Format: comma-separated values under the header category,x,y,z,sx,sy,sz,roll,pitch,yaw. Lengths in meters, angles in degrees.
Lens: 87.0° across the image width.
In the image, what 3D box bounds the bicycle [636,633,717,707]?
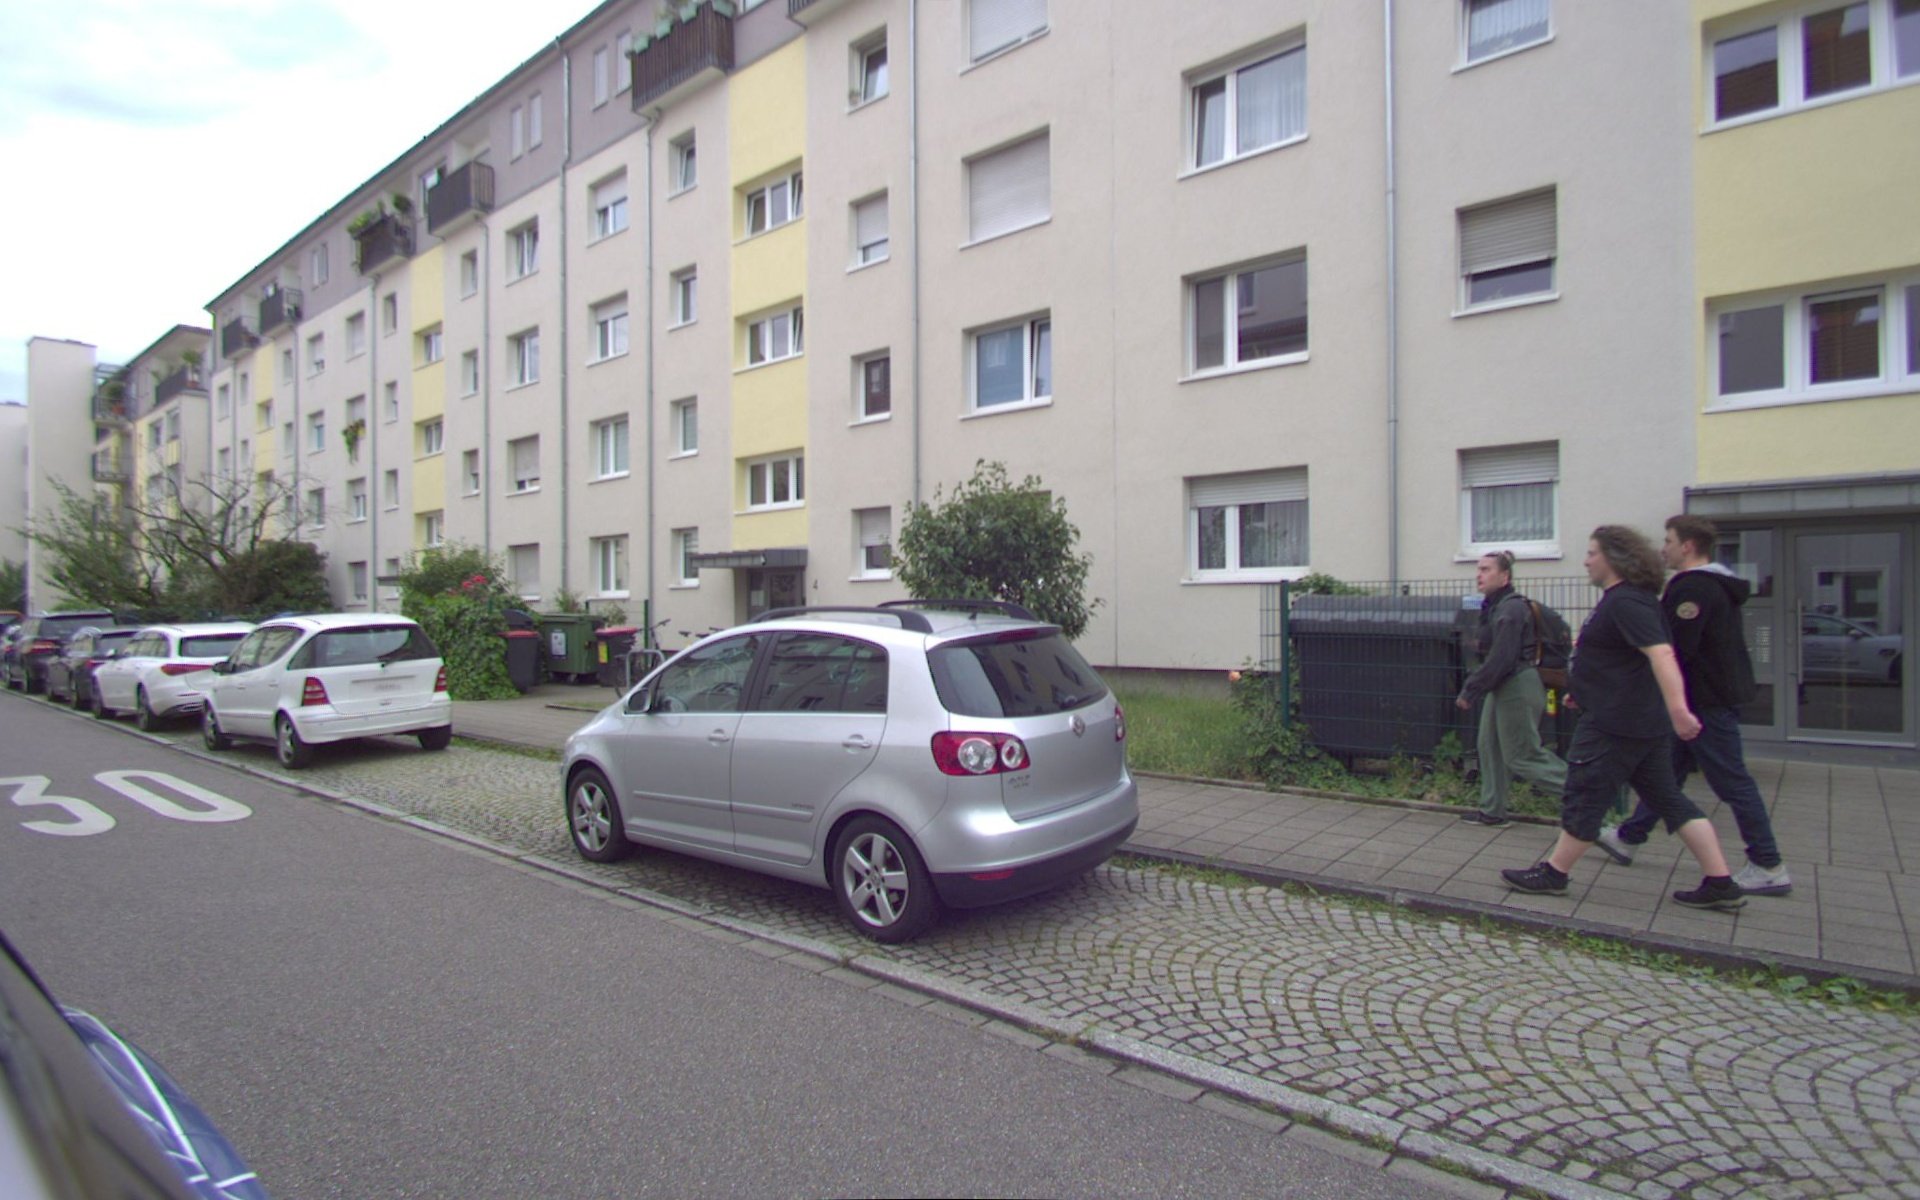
category,x,y,z,sx,sy,sz,roll,pitch,yaw
bicycle,-4.154,0.998,14.770,1.496,1.032,0.352,-2,-1,40

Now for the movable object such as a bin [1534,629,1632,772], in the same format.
category,x,y,z,sx,sy,sz,roll,pitch,yaw
movable object such as a bin,5.292,0.818,8.586,0.597,1.125,0.834,-2,-2,38

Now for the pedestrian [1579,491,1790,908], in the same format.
category,x,y,z,sx,sy,sz,roll,pitch,yaw
pedestrian,3.622,0.452,5.059,0.763,1.868,0.699,-2,-2,40

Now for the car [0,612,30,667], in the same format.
category,x,y,z,sx,sy,sz,roll,pitch,yaw
car,-33.232,1.359,34.519,3.537,1.820,1.686,-2,-2,38

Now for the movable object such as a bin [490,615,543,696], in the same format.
category,x,y,z,sx,sy,sz,roll,pitch,yaw
movable object such as a bin,-7.760,0.953,17.696,0.587,1.378,0.651,0,0,36

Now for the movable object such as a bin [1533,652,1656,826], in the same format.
category,x,y,z,sx,sy,sz,roll,pitch,yaw
movable object such as a bin,4.147,0.873,6.609,0.597,1.041,0.531,-2,-2,39

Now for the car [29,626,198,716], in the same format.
category,x,y,z,sx,sy,sz,roll,pitch,yaw
car,-15.844,1.233,18.865,4.480,1.464,1.707,-1,-1,41

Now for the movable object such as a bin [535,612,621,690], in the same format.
category,x,y,z,sx,sy,sz,roll,pitch,yaw
movable object such as a bin,-7.224,0.941,19.131,1.187,1.385,1.047,0,0,36

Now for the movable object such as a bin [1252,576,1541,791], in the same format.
category,x,y,z,sx,sy,sz,roll,pitch,yaw
movable object such as a bin,3.404,0.575,7.874,1.670,1.432,1.573,-2,-1,40

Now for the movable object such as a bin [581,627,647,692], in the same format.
category,x,y,z,sx,sy,sz,roll,pitch,yaw
movable object such as a bin,-6.327,1.072,18.535,0.786,1.117,0.861,0,0,36

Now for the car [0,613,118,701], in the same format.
category,x,y,z,sx,sy,sz,roll,pitch,yaw
car,-20.445,1.234,22.759,4.448,1.793,1.555,-2,-2,40

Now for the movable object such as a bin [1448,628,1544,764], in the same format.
category,x,y,z,sx,sy,sz,roll,pitch,yaw
movable object such as a bin,4.776,0.819,9.004,0.597,1.125,0.834,-2,-2,38

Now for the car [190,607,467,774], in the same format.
category,x,y,z,sx,sy,sz,roll,pitch,yaw
car,-7.481,0.942,11.863,3.724,1.651,1.668,-2,-1,39

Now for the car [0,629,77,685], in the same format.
category,x,y,z,sx,sy,sz,roll,pitch,yaw
car,-25.388,1.515,27.447,3.537,1.407,1.556,-2,-2,38

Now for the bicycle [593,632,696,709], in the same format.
category,x,y,z,sx,sy,sz,roll,pitch,yaw
bicycle,-4.538,0.981,14.475,1.877,1.032,0.483,-2,-1,41

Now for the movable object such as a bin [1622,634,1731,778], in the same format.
category,x,y,z,sx,sy,sz,roll,pitch,yaw
movable object such as a bin,5.757,0.816,8.123,0.633,1.059,0.855,-2,-2,39

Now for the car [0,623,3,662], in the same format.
category,x,y,z,sx,sy,sz,roll,pitch,yaw
car,-37.932,1.640,38.530,3.537,1.455,1.686,-2,-2,38

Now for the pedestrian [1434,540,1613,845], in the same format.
category,x,y,z,sx,sy,sz,roll,pitch,yaw
pedestrian,3.365,0.516,6.054,0.802,1.669,0.608,-2,-2,41

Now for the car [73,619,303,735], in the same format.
category,x,y,z,sx,sy,sz,roll,pitch,yaw
car,-11.914,1.099,15.495,4.681,1.521,1.702,-2,-2,38

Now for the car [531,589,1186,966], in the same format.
category,x,y,z,sx,sy,sz,roll,pitch,yaw
car,-0.812,0.779,6.090,3.911,1.562,1.637,-2,-1,39

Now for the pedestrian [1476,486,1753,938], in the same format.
category,x,y,z,sx,sy,sz,roll,pitch,yaw
pedestrian,3.069,0.467,4.760,0.973,1.877,0.633,-2,0,41

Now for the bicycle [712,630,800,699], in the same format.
category,x,y,z,sx,sy,sz,roll,pitch,yaw
bicycle,-3.192,0.986,15.744,1.557,1.032,0.416,-2,-1,38

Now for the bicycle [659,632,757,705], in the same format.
category,x,y,z,sx,sy,sz,roll,pitch,yaw
bicycle,-3.775,0.993,15.090,1.753,1.032,0.473,-2,-1,40

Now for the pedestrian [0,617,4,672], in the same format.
category,x,y,z,sx,sy,sz,roll,pitch,yaw
pedestrian,-29.801,1.374,31.033,0.621,1.679,0.596,-2,-1,38
